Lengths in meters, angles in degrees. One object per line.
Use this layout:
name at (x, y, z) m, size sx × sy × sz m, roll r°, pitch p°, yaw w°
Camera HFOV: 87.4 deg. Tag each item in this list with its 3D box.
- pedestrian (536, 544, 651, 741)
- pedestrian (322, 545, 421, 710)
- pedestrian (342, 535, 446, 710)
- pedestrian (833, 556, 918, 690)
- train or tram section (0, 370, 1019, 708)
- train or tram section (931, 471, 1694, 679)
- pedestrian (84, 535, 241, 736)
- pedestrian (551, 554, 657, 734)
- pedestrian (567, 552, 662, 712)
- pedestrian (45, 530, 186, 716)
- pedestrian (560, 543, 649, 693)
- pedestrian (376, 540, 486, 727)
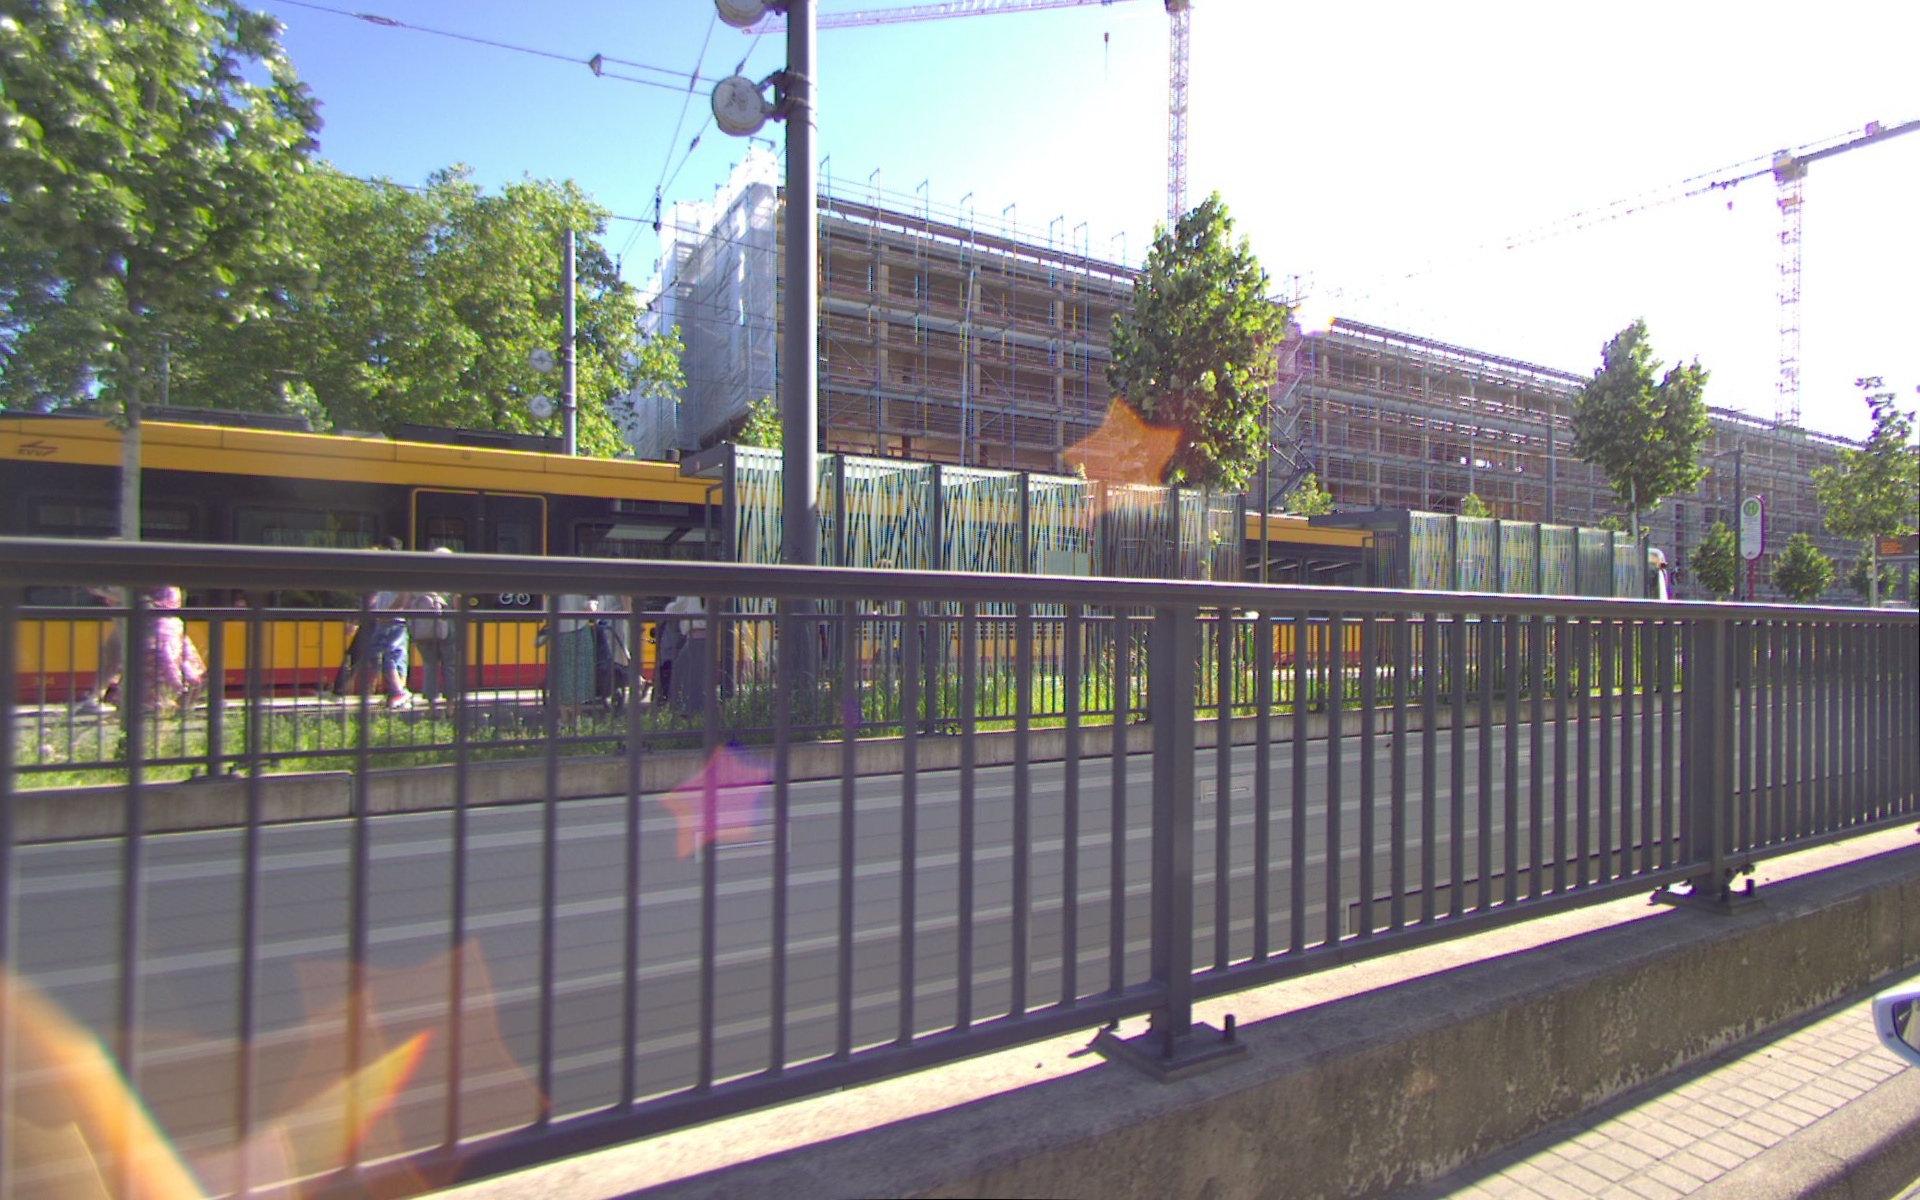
pedestrian at (-3.274, 0.367, 8.951) m, size 0.851 × 1.650 × 0.738 m, roll 1°, pitch -1°, yaw -29°
pedestrian at (-6.172, 0.281, 10.574) m, size 0.851 × 1.650 × 0.738 m, roll 1°, pitch -1°, yaw -29°
pedestrian at (-5.593, 0.222, 9.965) m, size 0.851 × 1.650 × 0.738 m, roll 1°, pitch -1°, yaw -29°
pedestrian at (-1.088, 0.293, 12.912) m, size 0.851 × 1.650 × 0.738 m, roll 1°, pitch -1°, yaw -29°
train or tram section at (-6.261, -0.558, 13.443) m, size 15.006 × 3.323 × 2.856 m, roll 1°, pitch 1°, yaw -30°
train or tram section at (9.631, -0.260, 22.790) m, size 21.883 × 3.323 × 2.856 m, roll 1°, pitch 1°, yaw -30°
pedestrian at (-6.945, 0.300, 8.804) m, size 0.935 × 1.650 × 0.738 m, roll 1°, pitch -1°, yaw -29°
pedestrian at (-3.452, 0.416, 9.729) m, size 0.851 × 1.650 × 0.738 m, roll 1°, pitch -1°, yaw -29°
pedestrian at (-3.755, 0.338, 10.900) m, size 0.851 × 1.650 × 0.738 m, roll 1°, pitch -1°, yaw -29°
pedestrian at (-7.909, 0.215, 9.449) m, size 0.851 × 1.650 × 0.738 m, roll 1°, pitch -1°, yaw -29°
pedestrian at (-4.105, 0.214, 11.593) m, size 0.851 × 1.650 × 0.738 m, roll 1°, pitch -1°, yaw -29°
pedestrian at (-4.919, 0.304, 9.360) m, size 0.851 × 1.650 × 0.738 m, roll 1°, pitch -1°, yaw -29°
